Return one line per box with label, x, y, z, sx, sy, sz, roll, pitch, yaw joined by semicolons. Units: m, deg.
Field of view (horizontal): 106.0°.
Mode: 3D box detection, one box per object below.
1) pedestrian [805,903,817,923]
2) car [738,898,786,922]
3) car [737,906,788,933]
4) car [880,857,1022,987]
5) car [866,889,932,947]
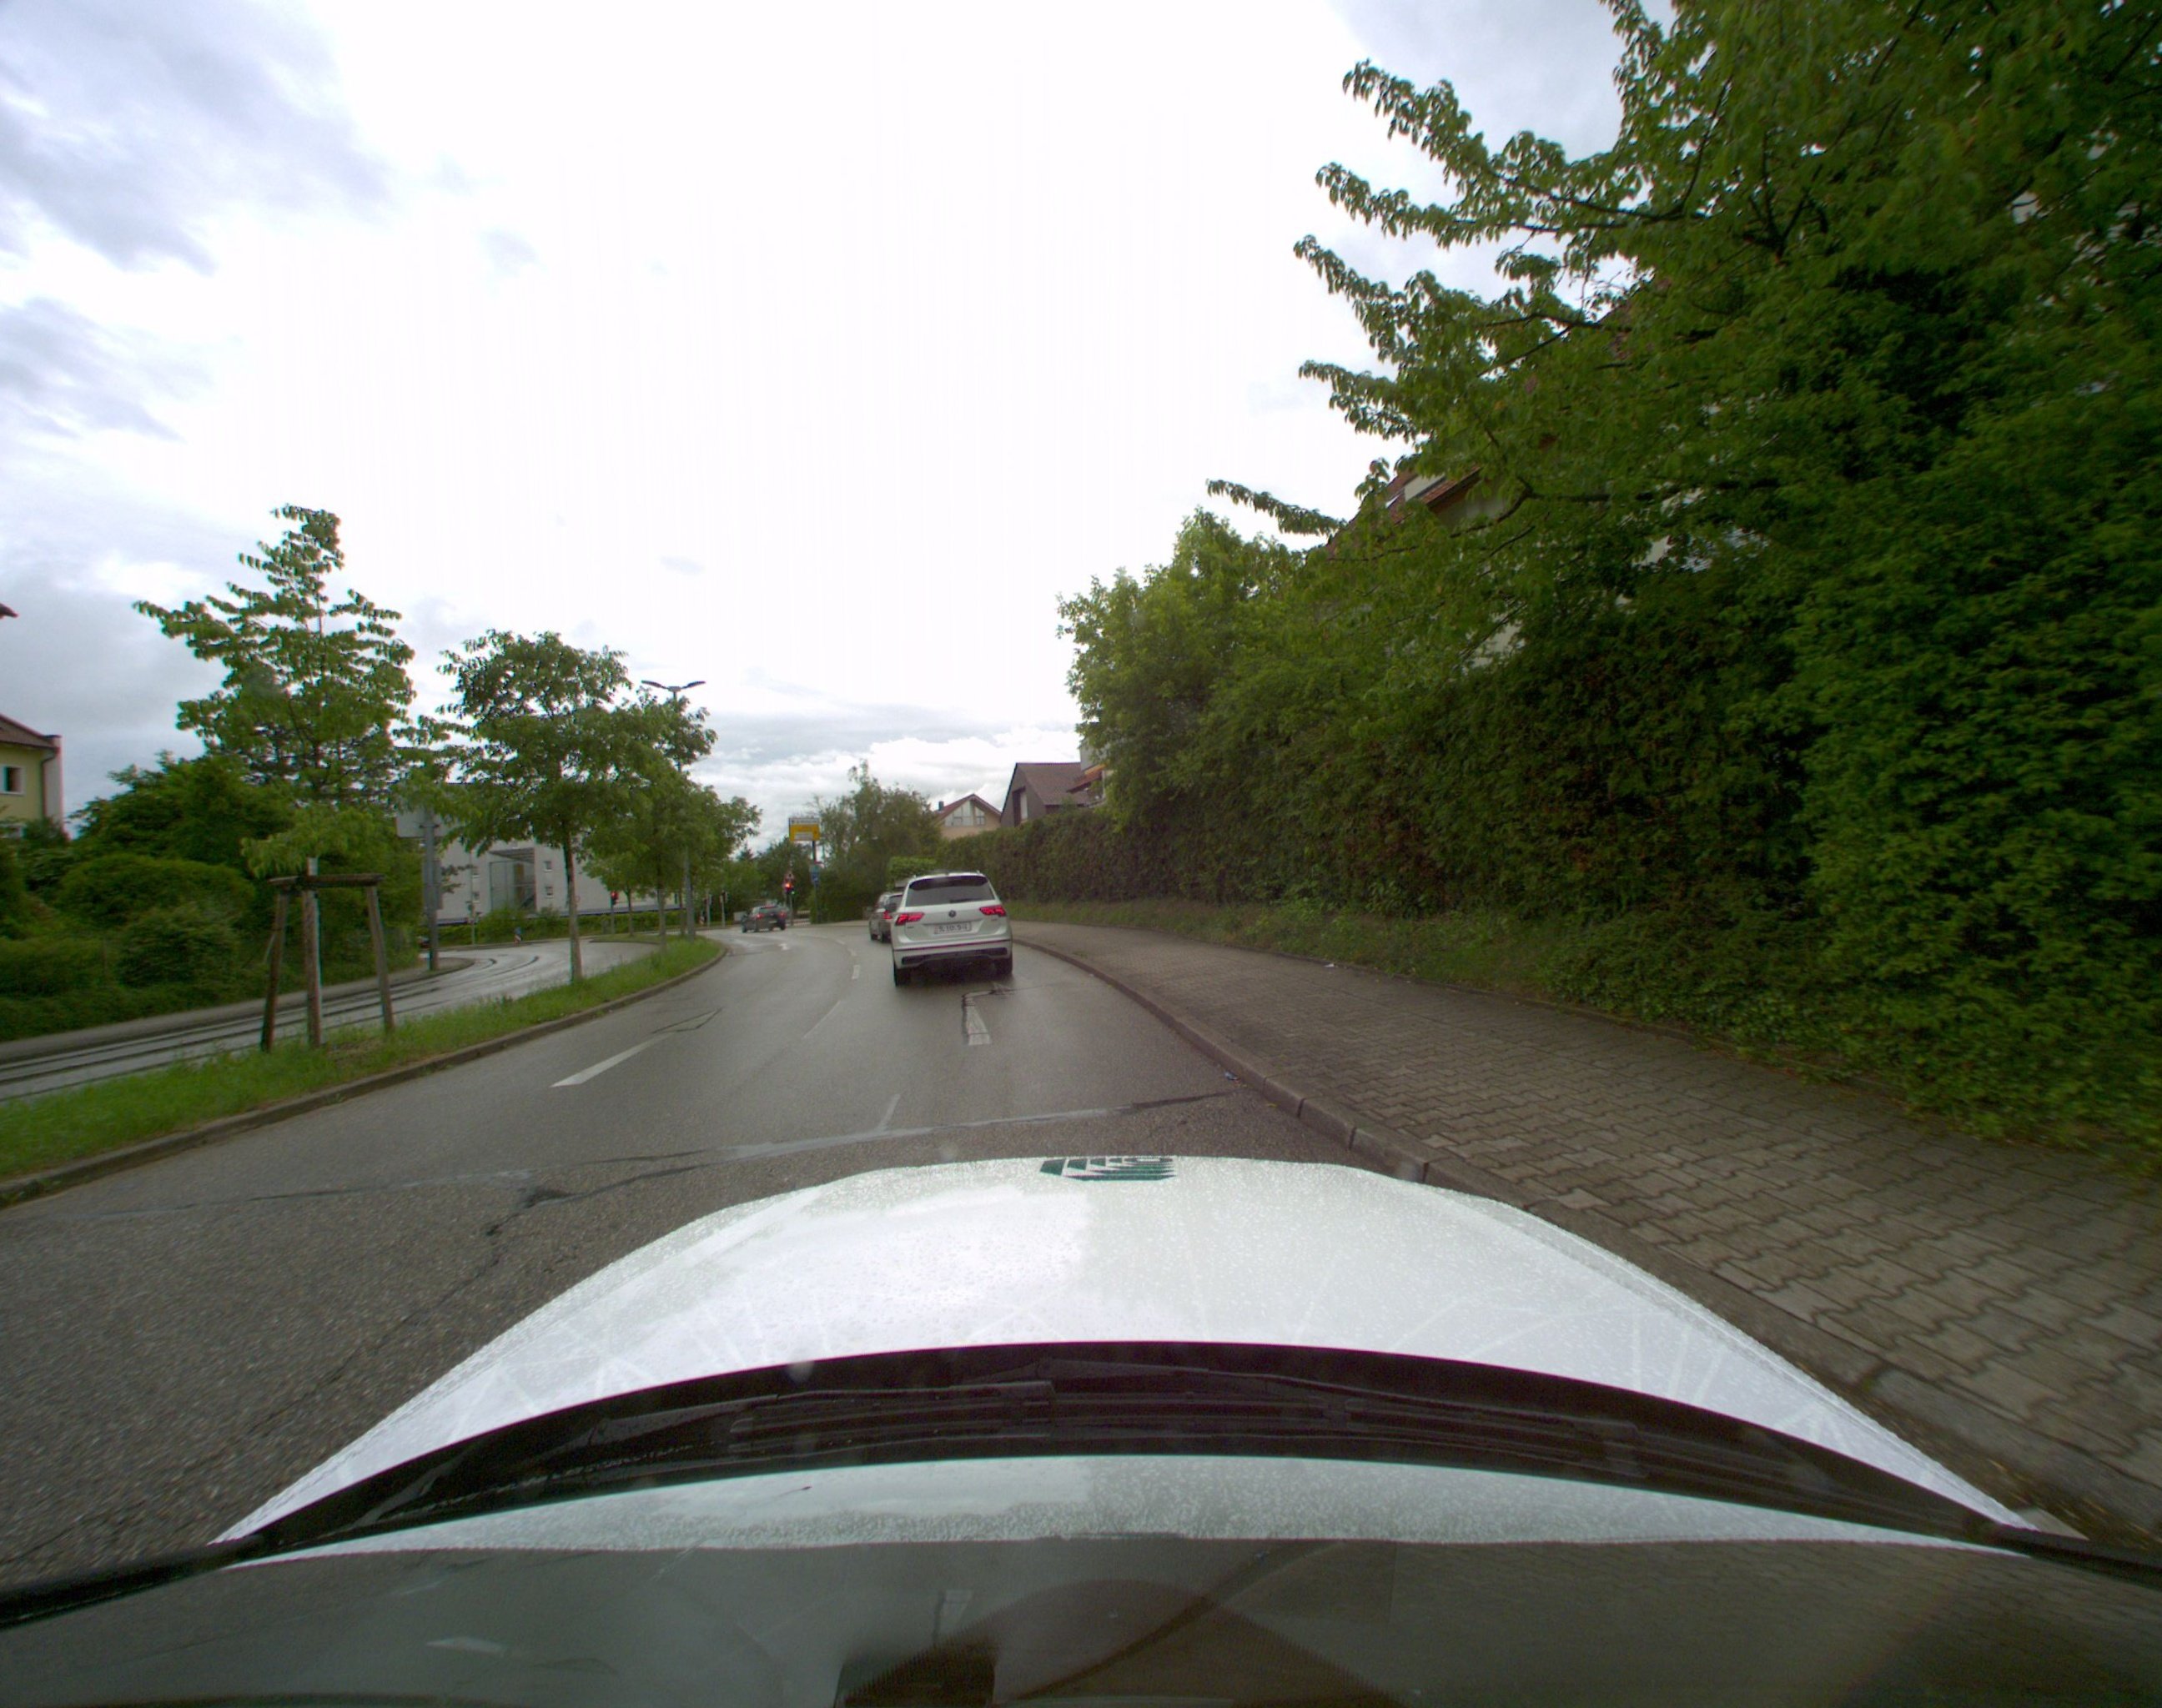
pedestrian;-27.399;5.956;82.555;0.839;2.014;0.806;-5;-3;44
car;-29.936;5.255;76.571;3.993;2.014;1.971;-1;-1;-14
car;-19.020;3.895;48.484;1.865;1.429;3.955;-1;-4;-36
car;-2.245;1.059;13.750;1.922;1.722;4.248;-3;-2;-11
car;-5.650;1.885;24.985;1.768;1.510;3.978;-1;-1;-15
